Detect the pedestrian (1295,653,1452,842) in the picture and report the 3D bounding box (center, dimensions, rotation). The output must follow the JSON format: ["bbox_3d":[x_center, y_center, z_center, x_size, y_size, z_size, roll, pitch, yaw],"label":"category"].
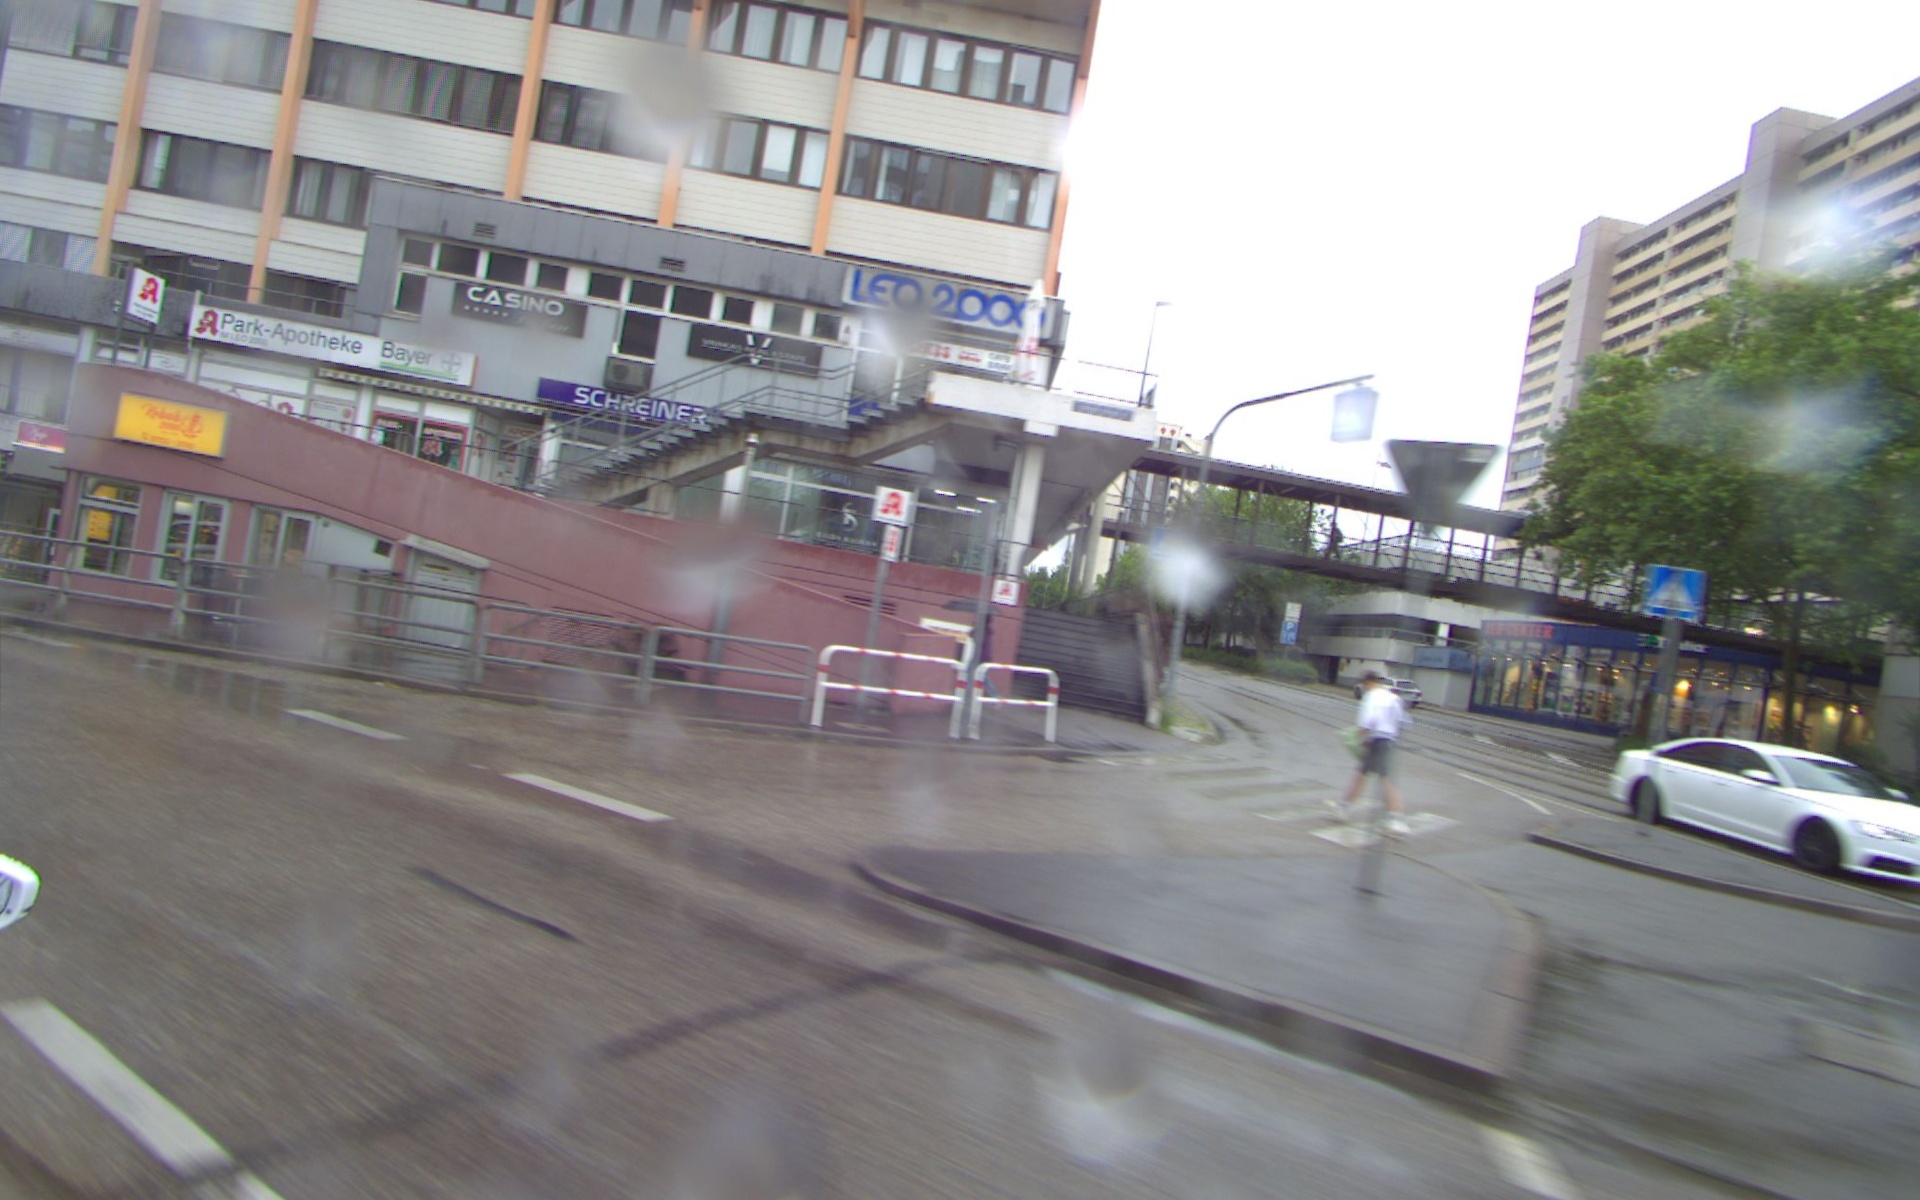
[{"bbox_3d":[4.318,1.517,10.515,1.113,1.710,0.828,8,-1,41],"label":"pedestrian"}]

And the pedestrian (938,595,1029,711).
[{"bbox_3d":[0.376,0.871,16.414,0.917,1.688,0.794,12,2,38],"label":"pedestrian"}]

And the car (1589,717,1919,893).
[{"bbox_3d":[10.952,2.625,13.507,1.779,1.422,4.791,8,-1,-1],"label":"car"}]

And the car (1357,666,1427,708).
[{"bbox_3d":[23.568,4.704,55.000,1.802,1.827,4.001,7,-1,-1],"label":"car"}]
